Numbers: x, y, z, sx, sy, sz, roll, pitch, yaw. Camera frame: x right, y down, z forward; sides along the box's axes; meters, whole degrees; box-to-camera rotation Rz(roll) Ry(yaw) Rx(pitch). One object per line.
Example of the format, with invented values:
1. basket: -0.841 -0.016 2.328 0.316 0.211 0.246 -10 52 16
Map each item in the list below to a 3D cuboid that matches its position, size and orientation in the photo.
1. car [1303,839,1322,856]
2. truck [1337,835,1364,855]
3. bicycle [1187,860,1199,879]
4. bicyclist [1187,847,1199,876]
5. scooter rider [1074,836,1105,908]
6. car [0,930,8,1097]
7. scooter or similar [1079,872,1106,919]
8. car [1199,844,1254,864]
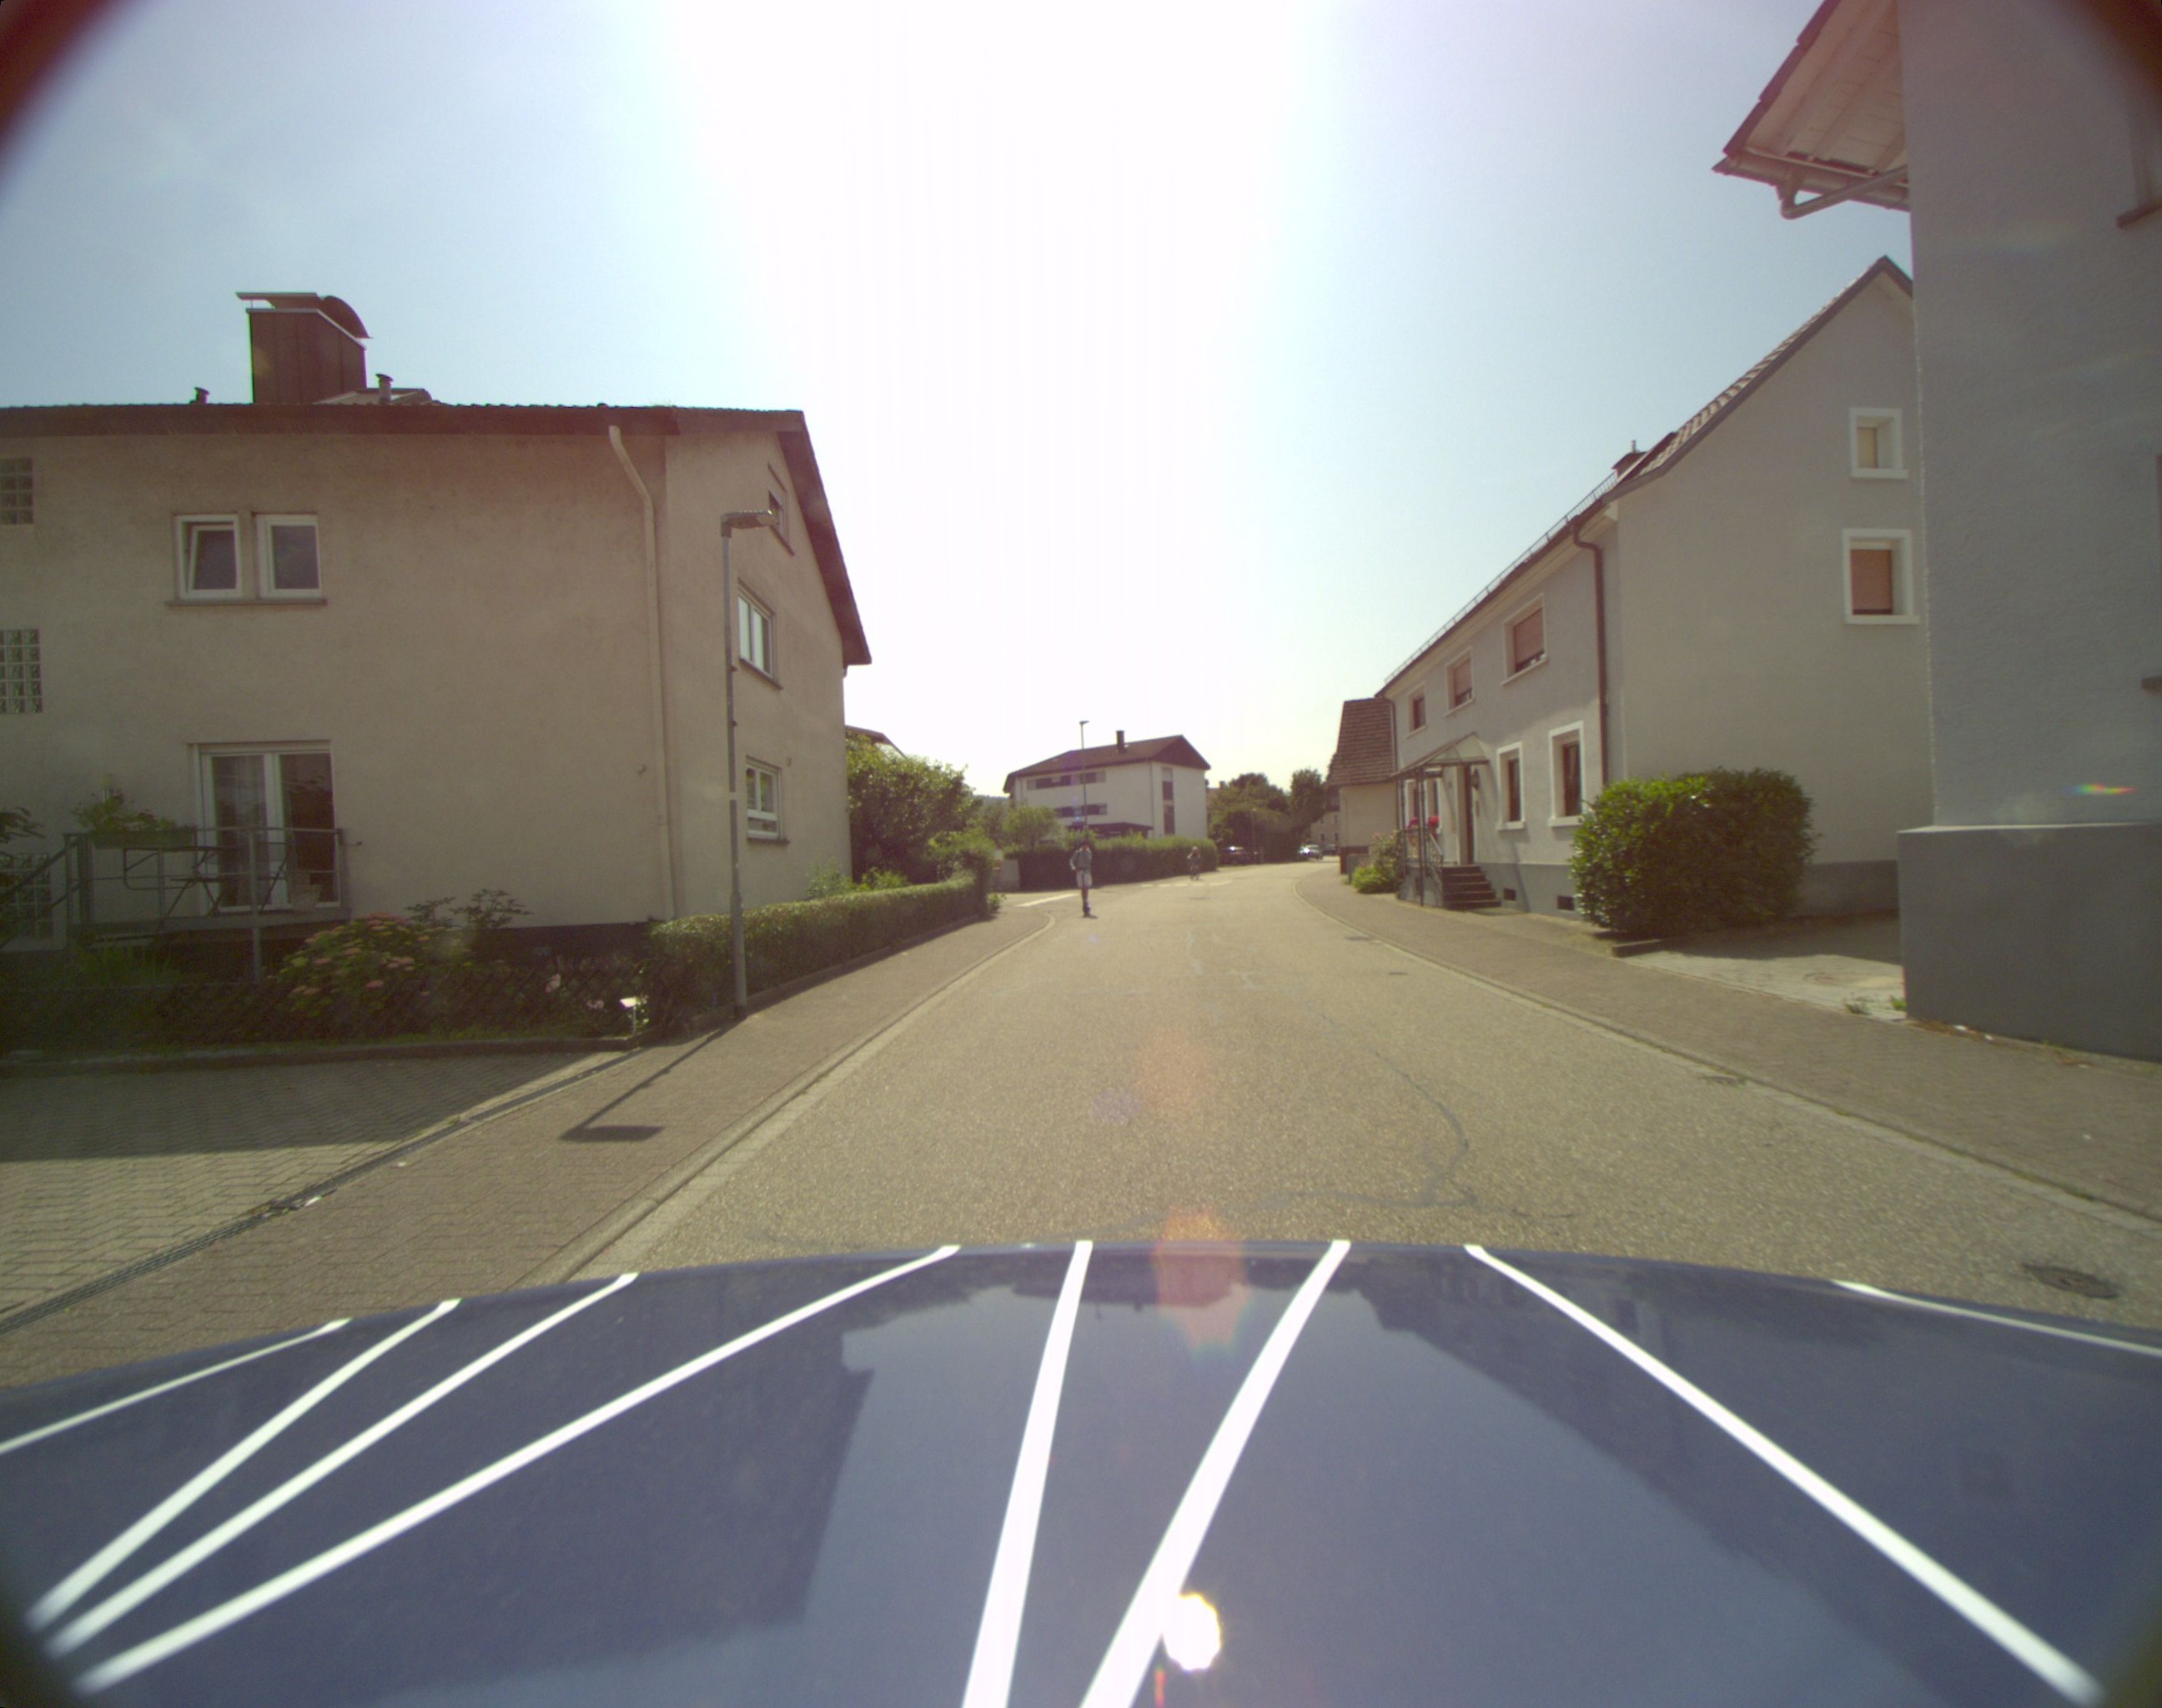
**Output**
1. car: 25.957 -0.773 85.173 1.779 1.830 3.906 -1 1 20
2. truck: 29.682 -1.012 83.628 2.263 2.122 6.775 -2 1 24
3. bicycle: 5.739 0.785 38.941 0.521 0.899 1.314 -2 1 10
4. bicyclist: 5.752 0.377 39.094 0.547 1.481 0.797 -2 1 10
5. scooter rider: 0.204 0.433 18.766 0.617 1.714 0.640 -3 1 -5
6. car: -10.572 0.942 4.583 4.993 1.902 2.055 -2 0 -2
7. scooter or similar: 0.279 1.015 18.788 0.543 1.083 0.691 -3 1 -5
8. car: 12.844 -0.006 67.126 4.281 1.662 2.069 -1 1 28
